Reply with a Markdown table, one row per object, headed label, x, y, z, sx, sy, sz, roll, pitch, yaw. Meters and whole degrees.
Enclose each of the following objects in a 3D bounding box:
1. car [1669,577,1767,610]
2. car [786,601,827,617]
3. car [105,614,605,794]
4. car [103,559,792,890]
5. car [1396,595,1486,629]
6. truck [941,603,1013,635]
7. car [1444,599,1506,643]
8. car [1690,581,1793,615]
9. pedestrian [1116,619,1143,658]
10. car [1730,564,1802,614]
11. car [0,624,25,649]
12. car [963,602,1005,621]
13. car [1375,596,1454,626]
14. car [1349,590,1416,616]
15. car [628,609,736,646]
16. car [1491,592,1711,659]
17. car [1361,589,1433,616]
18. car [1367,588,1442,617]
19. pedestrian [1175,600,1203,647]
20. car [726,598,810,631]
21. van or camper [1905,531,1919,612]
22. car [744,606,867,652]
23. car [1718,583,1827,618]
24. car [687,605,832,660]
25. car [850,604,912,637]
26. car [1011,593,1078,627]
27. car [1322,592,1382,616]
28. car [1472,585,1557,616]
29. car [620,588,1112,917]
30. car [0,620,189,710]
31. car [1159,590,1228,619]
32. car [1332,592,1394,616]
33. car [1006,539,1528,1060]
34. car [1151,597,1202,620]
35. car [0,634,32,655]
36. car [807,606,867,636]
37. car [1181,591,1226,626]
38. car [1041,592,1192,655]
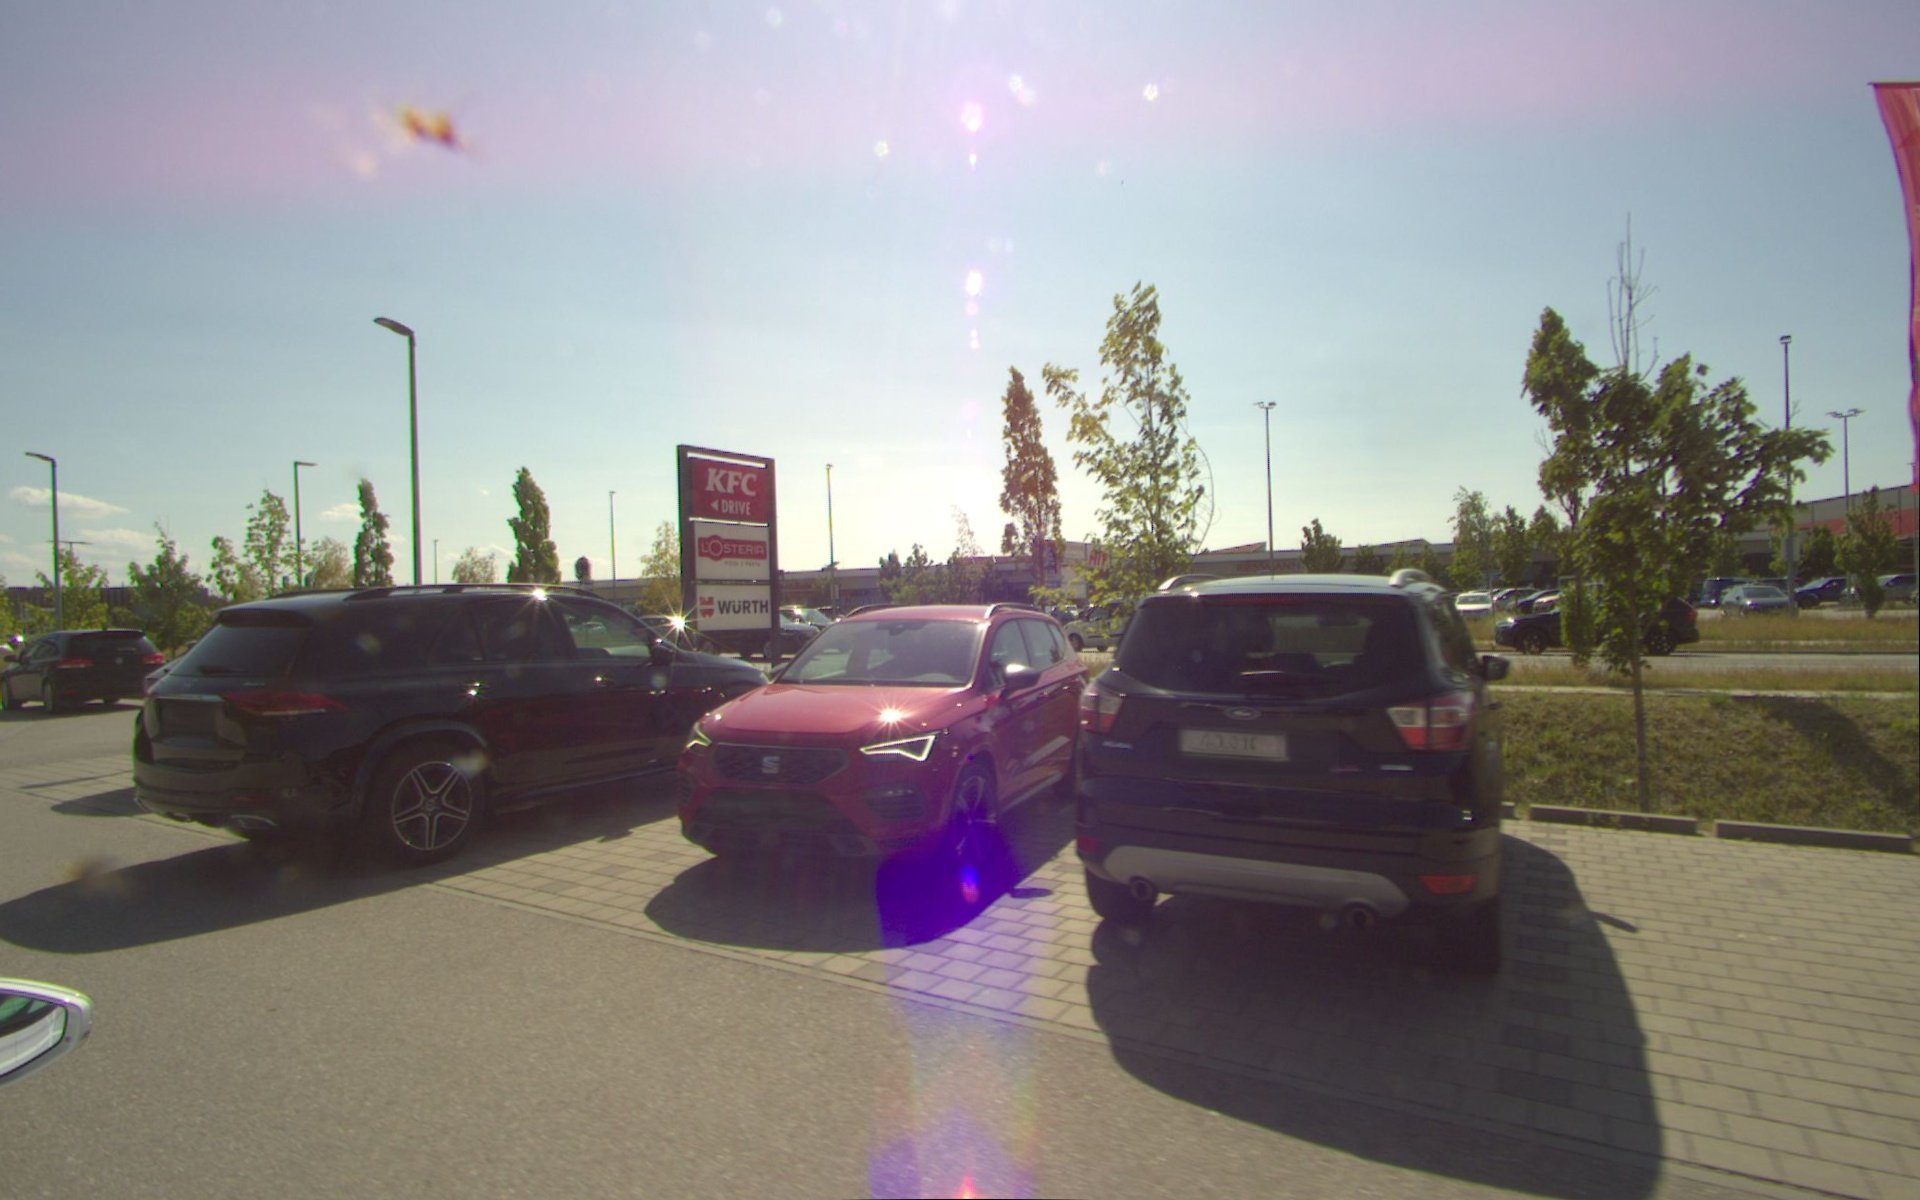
| label | x | y | z | sx | sy | sz | roll | pitch | yaw |
| --- | --- | --- | --- | --- | --- | --- | --- | --- | --- |
| car | 46.173 | -0.366 | 61.101 | 4.321 | 1.880 | 1.954 | -1 | 0 | 12 |
| car | -13.907 | 0.828 | 90.791 | 3.417 | 1.418 | 1.432 | -1 | 0 | 0 |
| car | -6.354 | 0.949 | 11.135 | 1.848 | 1.506 | 4.436 | -1 | 0 | 29 |
| car | -3.494 | 0.741 | 7.862 | 1.867 | 1.783 | 4.572 | -1 | -2 | 29 |
| car | 27.551 | 0.674 | 57.502 | 4.321 | 1.880 | 1.954 | -1 | 0 | 12 |
| truck | 1.114 | 1.129 | 61.695 | 1.971 | 1.888 | 5.406 | -1 | -1 | 31 |
| car | 23.547 | 0.934 | 45.720 | 1.973 | 1.880 | 4.260 | -1 | -1 | 35 |
| car | 45.766 | -0.098 | 58.733 | 4.321 | 1.880 | 1.954 | -1 | 0 | 12 |
| pedestrian | 6.275 | 1.415 | 37.117 | 0.715 | 1.416 | 0.861 | -1 | -1 | 29 |
| car | 32.517 | -0.388 | 40.488 | 1.929 | 1.880 | 4.378 | -1 | -1 | 34 |
| car | -59.956 | 2.267 | 61.455 | 3.925 | 1.503 | 1.877 | -1 | 0 | 13 |
| car | 2.064 | 1.013 | 85.037 | 3.409 | 1.572 | 1.666 | -1 | 0 | 6 |
| car | 29.671 | 0.704 | 65.509 | 4.321 | 1.880 | 1.954 | -1 | 0 | 12 |
| car | 31.842 | 0.253 | 75.596 | 4.320 | 1.880 | 1.955 | -1 | 0 | 9 |
| car | -11.778 | 1.136 | 42.382 | 4.537 | 1.503 | 1.869 | -1 | -1 | 32 |
| car | 16.780 | 0.662 | 26.564 | 4.731 | 1.646 | 1.992 | -1 | 0 | 28 |
| car | 30.707 | 0.196 | 70.469 | 4.321 | 1.880 | 1.954 | -1 | 0 | 12 |
| car | 30.123 | 0.168 | 67.918 | 4.321 | 1.880 | 1.954 | -1 | 0 | 12 |
| pedestrian | 8.129 | 0.831 | 35.552 | 0.747 | 1.621 | 0.687 | 0 | 0 | 37 |
| car | -13.644 | 1.042 | 71.490 | 2.771 | 2.266 | 6.292 | -1 | -1 | 24 |
| van or camper | 40.476 | -1.165 | 37.043 | 2.396 | 3.142 | 7.975 | 0 | -1 | -45 |
| car | -5.914 | 1.087 | 38.155 | 4.537 | 1.686 | 1.869 | -1 | 0 | 32 |
| car | 45.203 | 0.050 | 55.802 | 4.321 | 1.880 | 1.954 | -1 | 0 | 12 |
| car | -6.848 | 1.076 | 34.119 | 4.688 | 1.755 | 1.991 | -1 | 0 | 30 |
| car | -5.150 | 1.330 | 65.722 | 1.973 | 2.040 | 4.066 | -1 | -1 | 35 |
| car | 4.991 | 0.584 | 58.337 | 1.971 | 1.870 | 4.708 | -1 | -1 | 32 |
| car | 32.823 | 0.354 | 83.978 | 4.320 | 1.880 | 1.955 | -1 | 0 | 9 |
| car | 35.128 | 0.064 | 63.572 | 4.321 | 1.880 | 1.954 | -1 | 0 | 12 |
| car | -0.304 | 0.814 | 7.212 | 1.863 | 1.629 | 4.072 | -1 | -1 | 22 |
| car | -16.845 | 1.192 | 19.308 | 4.062 | 1.497 | 1.831 | -1 | 1 | 33 |
| car | 15.787 | 0.301 | 67.895 | 4.487 | 1.880 | 1.954 | -1 | 0 | 12 |
| car | 32.638 | 0.320 | 81.245 | 4.320 | 1.880 | 1.955 | -1 | 0 | 9 |
| car | 2.094 | 0.727 | 5.673 | 1.868 | 1.724 | 4.313 | -1 | -2 | 30 |
| car | 19.045 | 0.757 | 88.019 | 4.321 | 1.880 | 1.954 | -1 | 0 | 12 |
| car | -66.422 | 3.079 | 69.203 | 3.445 | 1.404 | 1.651 | -1 | 0 | 11 |
| car | -8.547 | 1.441 | 70.002 | 1.966 | 2.040 | 5.168 | -1 | -1 | 21 |
| car | 13.879 | 0.501 | 57.368 | 1.961 | 1.870 | 4.406 | -1 | -1 | 7 |
| car | 5.232 | 0.783 | 33.893 | 4.841 | 1.980 | 1.862 | -1 | -1 | 43 |
